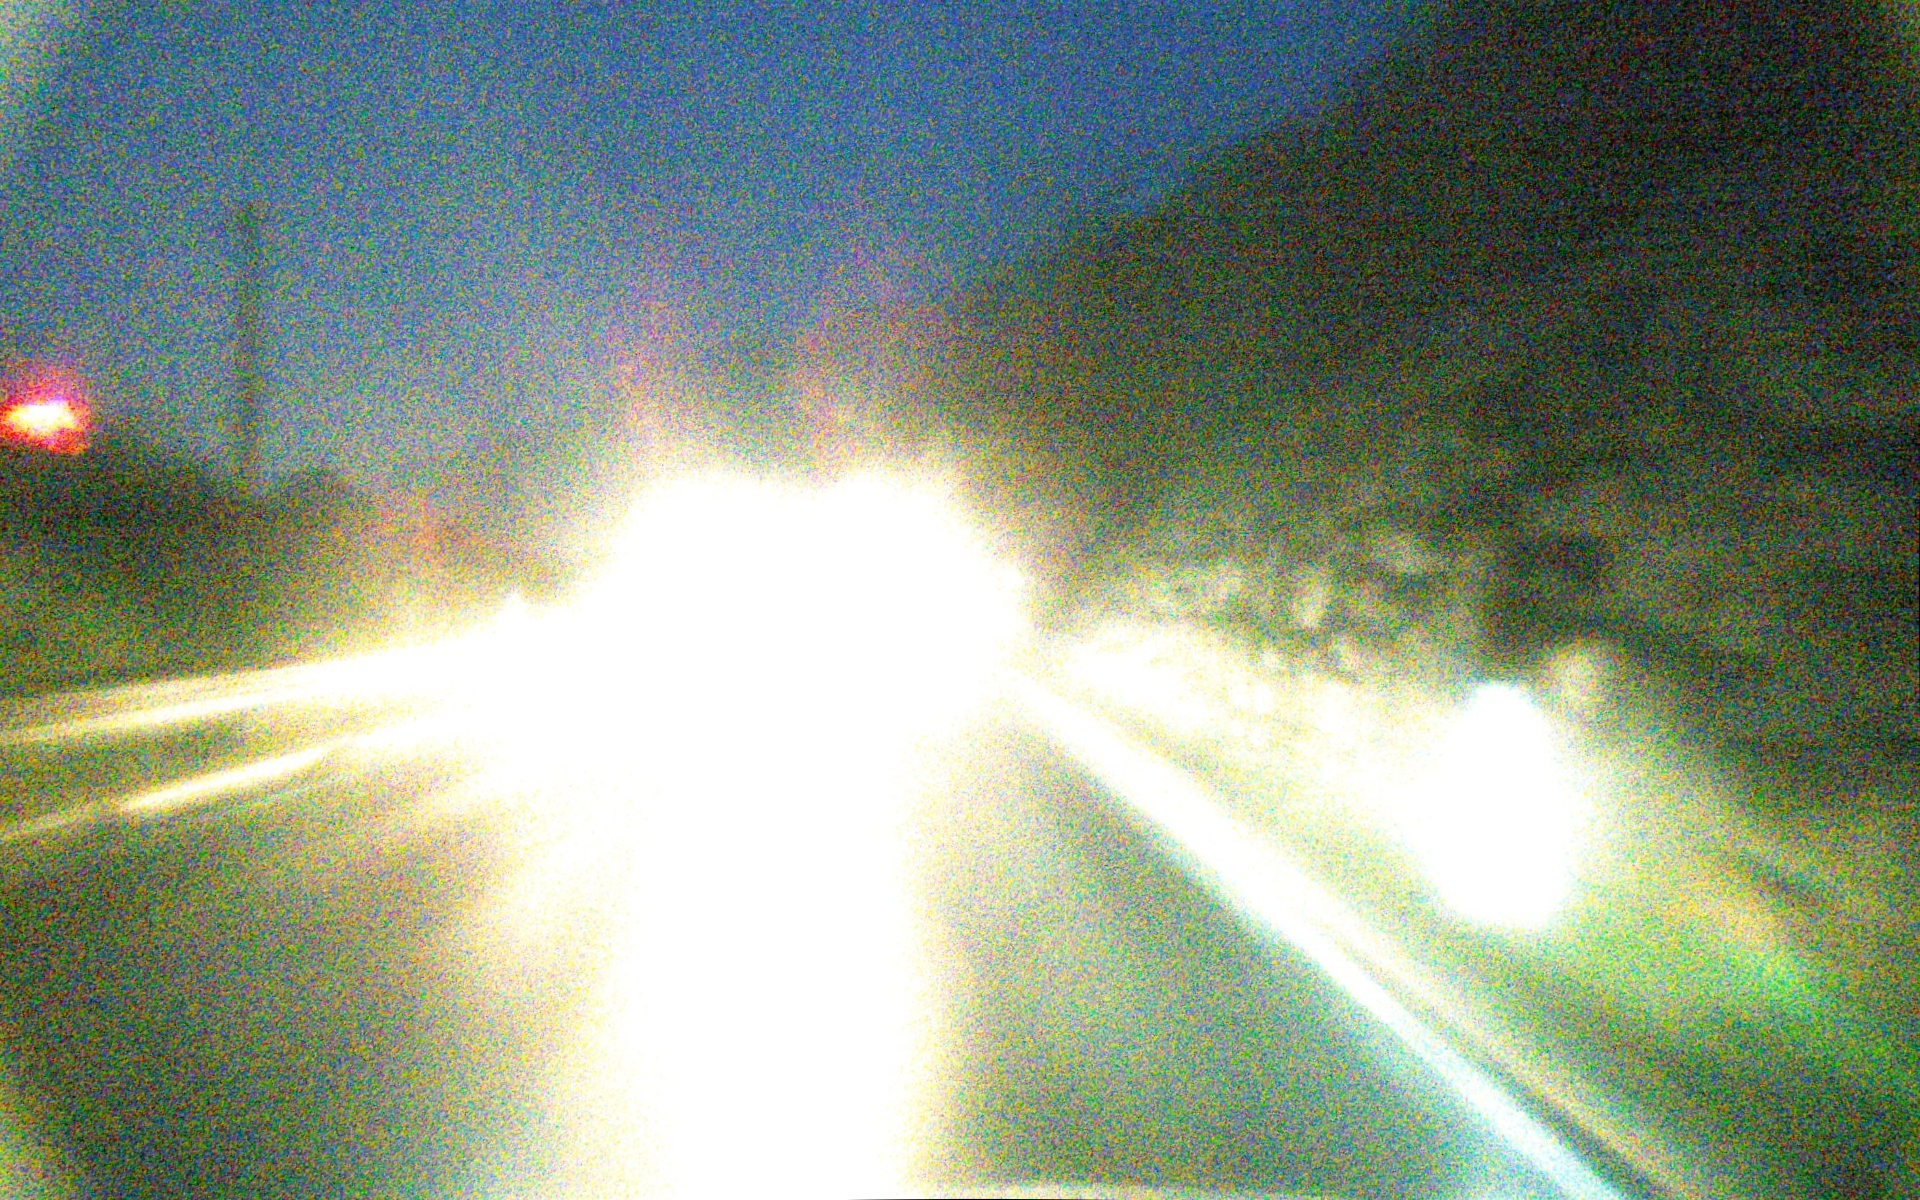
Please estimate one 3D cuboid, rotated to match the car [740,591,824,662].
[{"bbox_3d":[-4.410,0.627,41.449,1.882,1.674,4.023,0,0,-3],"label":"car"}]
